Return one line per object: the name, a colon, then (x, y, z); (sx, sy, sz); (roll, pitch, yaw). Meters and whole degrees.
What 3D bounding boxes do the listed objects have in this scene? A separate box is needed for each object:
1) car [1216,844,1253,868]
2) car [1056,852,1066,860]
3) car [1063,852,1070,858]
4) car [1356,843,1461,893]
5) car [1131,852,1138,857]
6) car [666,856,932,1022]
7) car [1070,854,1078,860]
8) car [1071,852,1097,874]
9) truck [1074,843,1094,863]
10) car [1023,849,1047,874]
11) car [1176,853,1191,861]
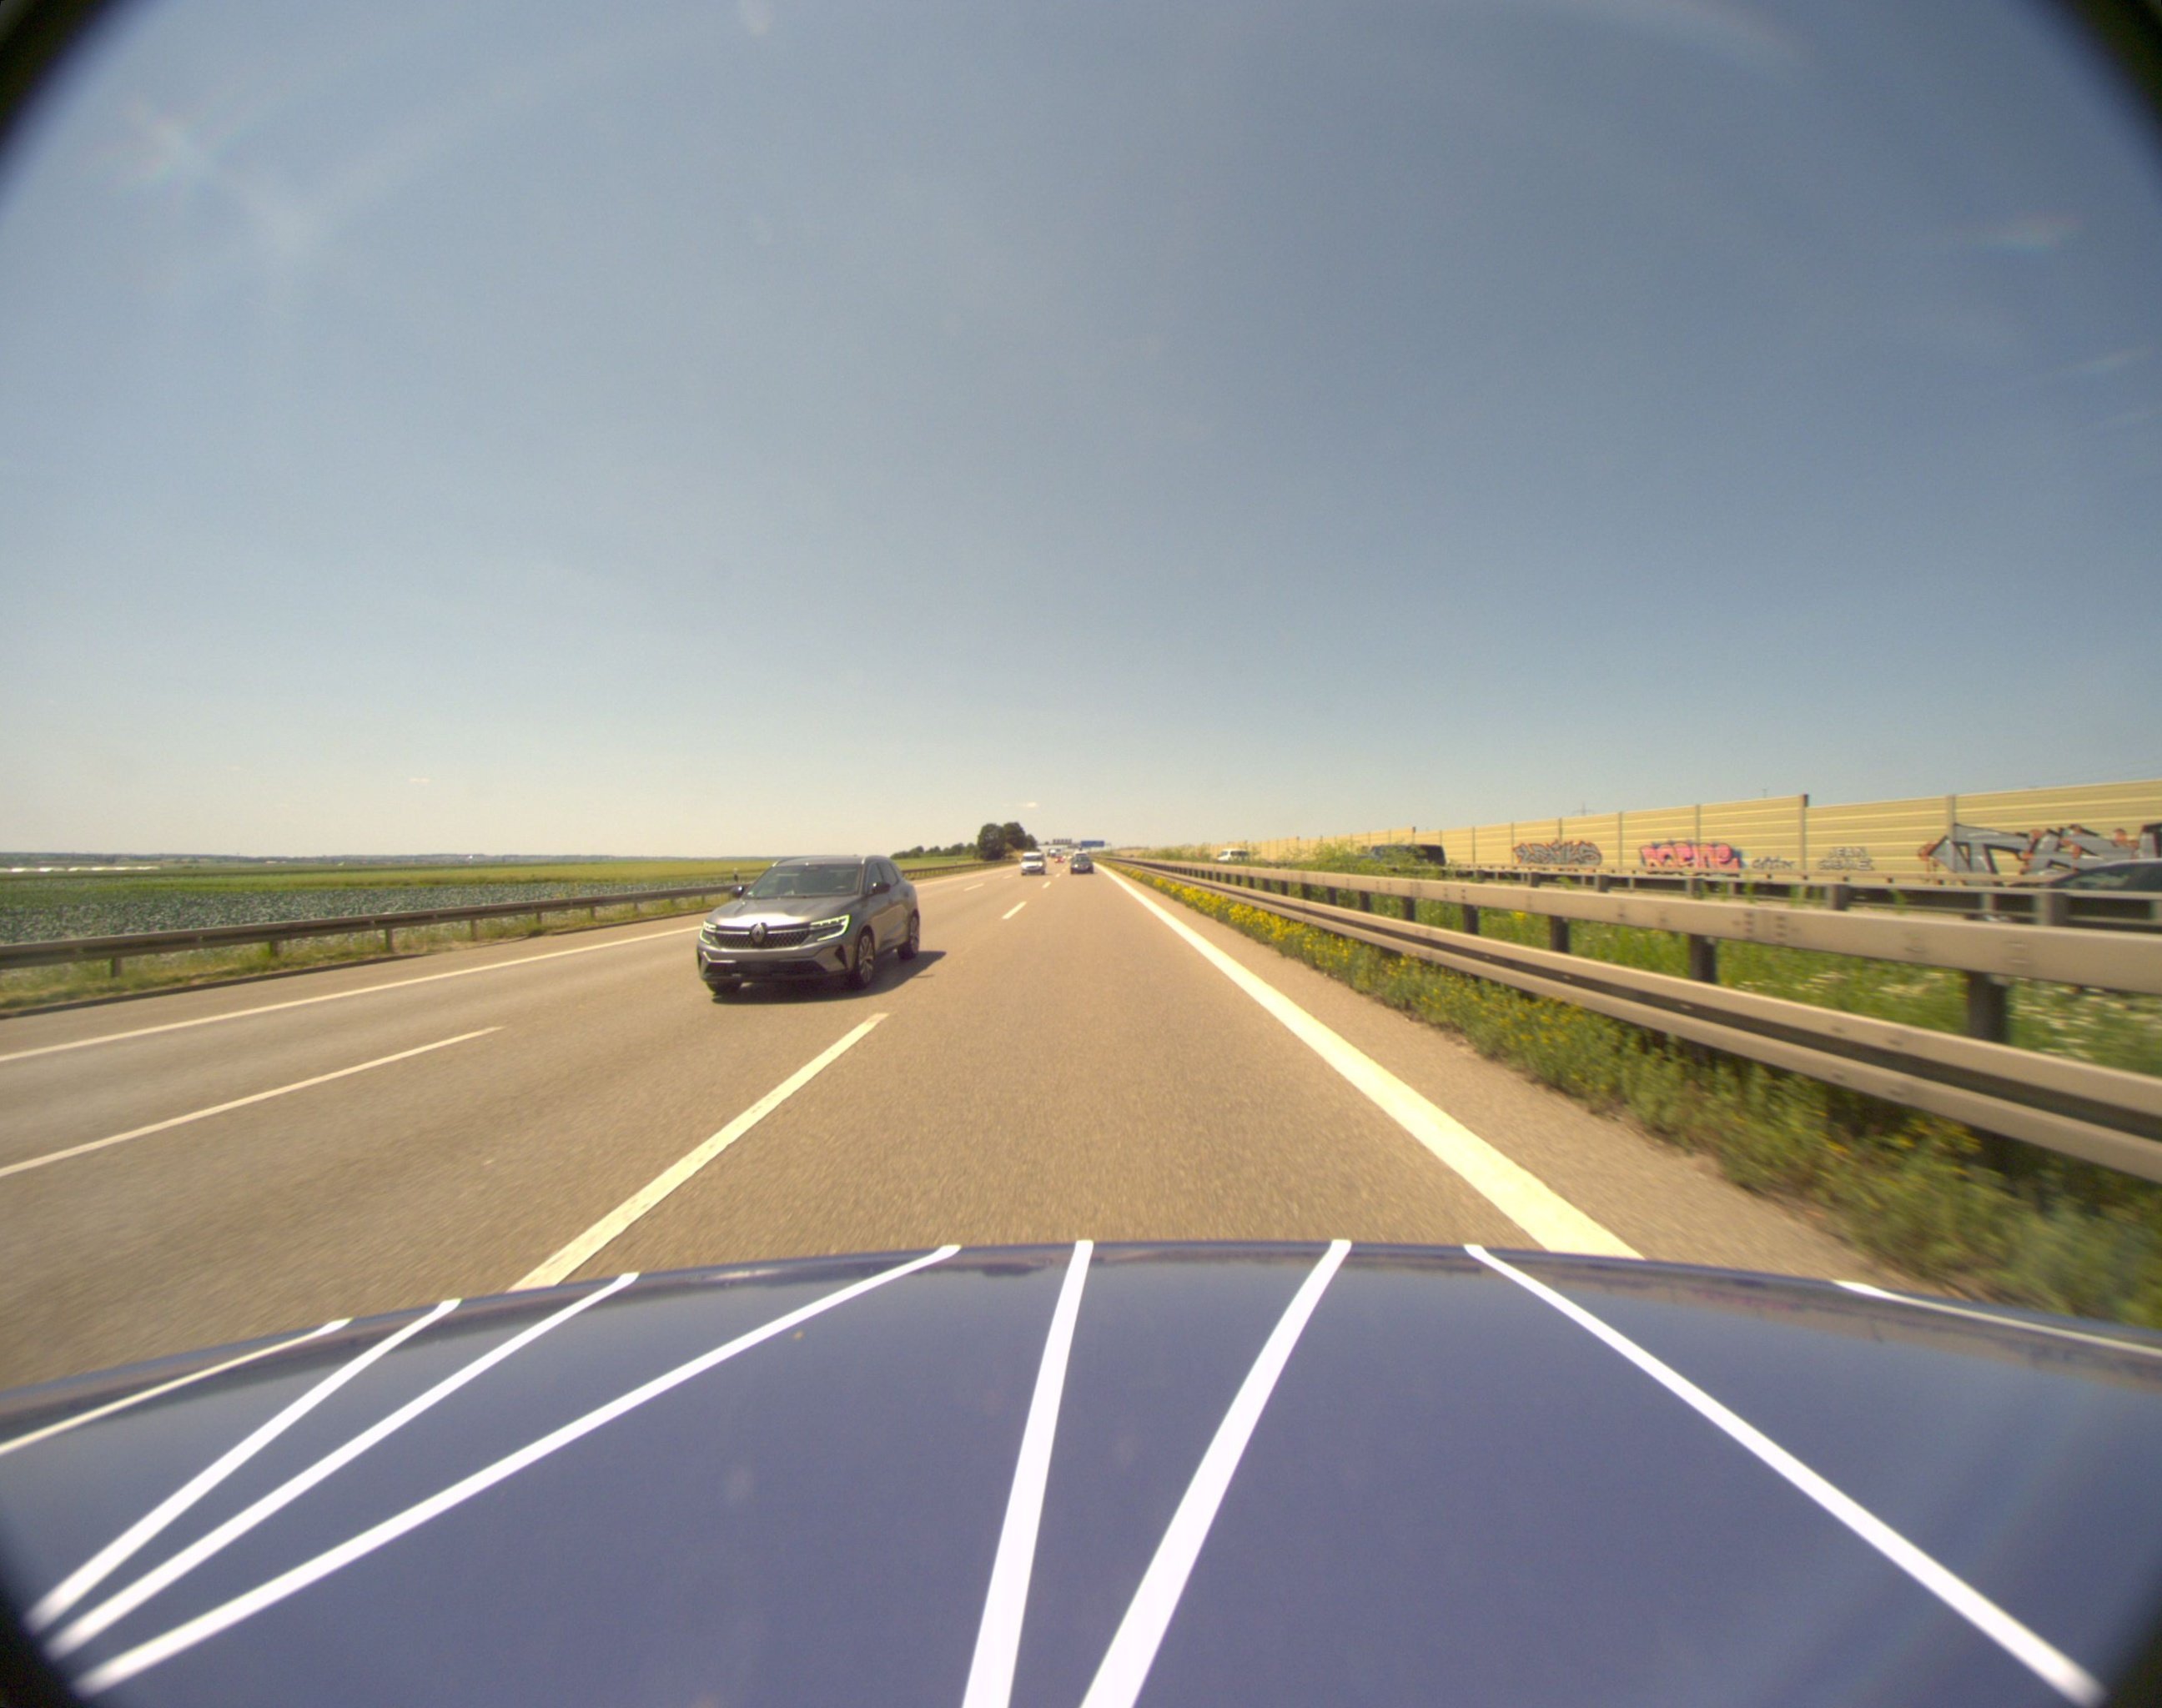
car: (13.563, 0.163, 67.481); (1.998, 1.950, 5.913); (-2, 1, 0)
car: (-3.921, 0.332, 148.011); (1.723, 1.514, 3.581); (-2, 1, 1)
car: (-3.975, 0.204, 212.184); (1.724, 1.514, 3.581); (-2, 1, -2)
car: (14.031, 0.530, 33.046); (1.998, 1.929, 5.854); (2, 1, 0)
car: (17.378, 0.234, 246.774); (1.723, 1.401, 4.484); (-2, 1, 0)
car: (-3.426, 0.904, 10.327); (1.856, 1.639, 4.644); (-1, 1, 0)
car: (-1.744, 0.755, 184.595); (1.724, 1.514, 3.581); (-2, 1, -2)
car: (0.207, 0.688, 59.837); (1.715, 1.586, 4.546); (-4, 0, -2)
truck: (0.343, -0.130, 100.048); (2.334, 2.378, 6.685); (-2, 1, -2)
car: (-3.686, 0.588, 61.730); (1.812, 1.836, 5.311); (-2, 0, -2)
car: (17.920, 0.519, 133.291); (1.998, 1.412, 4.000); (-2, 0, 0)
